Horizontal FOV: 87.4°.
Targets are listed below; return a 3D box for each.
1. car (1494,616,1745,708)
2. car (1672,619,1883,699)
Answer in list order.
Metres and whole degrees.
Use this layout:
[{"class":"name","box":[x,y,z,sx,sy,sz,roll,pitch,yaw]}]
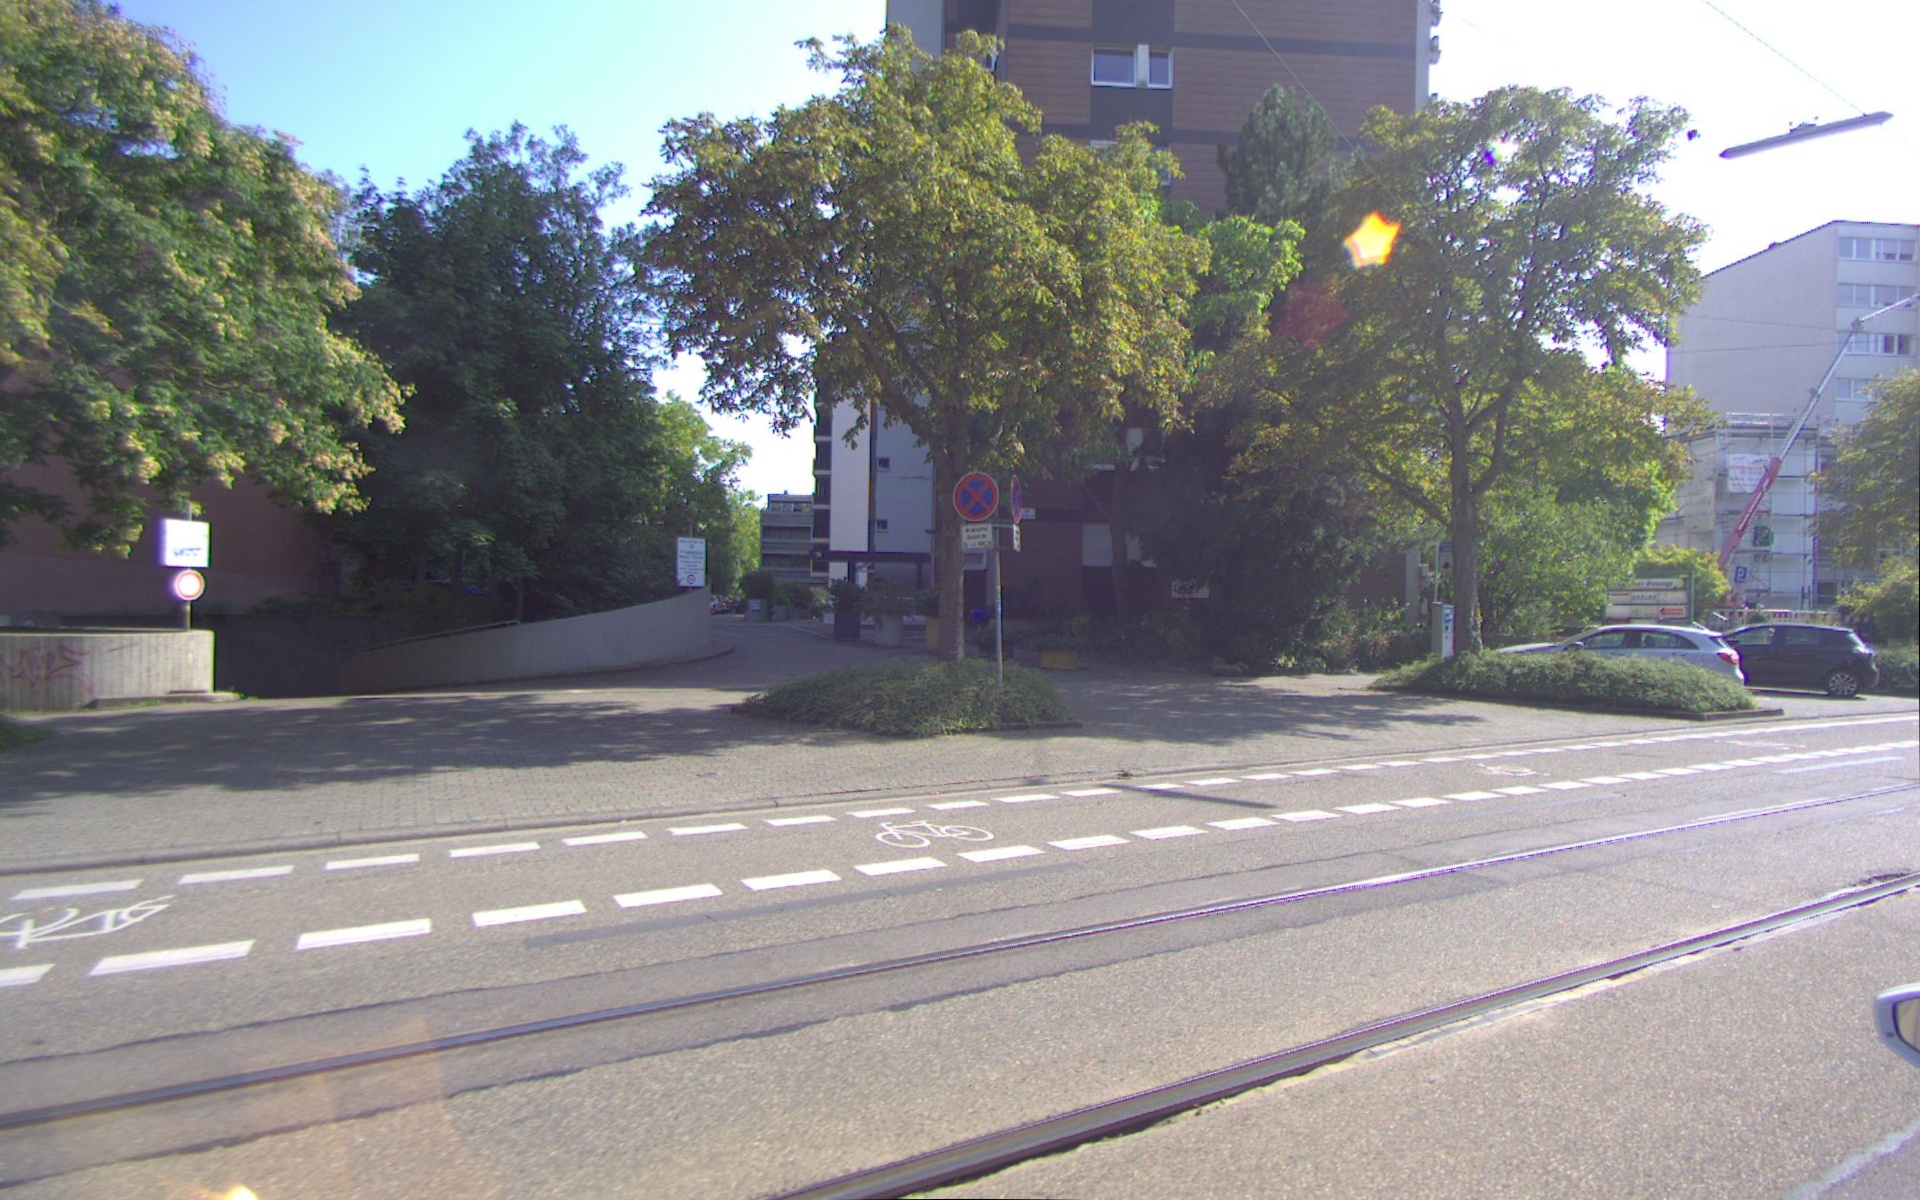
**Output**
[{"class":"car","box":[12.809,1.137,19.760,3.930,1.499,1.785,2,0,32]},{"class":"car","box":[18.519,1.281,22.983,3.586,1.535,1.616,3,1,36]}]
